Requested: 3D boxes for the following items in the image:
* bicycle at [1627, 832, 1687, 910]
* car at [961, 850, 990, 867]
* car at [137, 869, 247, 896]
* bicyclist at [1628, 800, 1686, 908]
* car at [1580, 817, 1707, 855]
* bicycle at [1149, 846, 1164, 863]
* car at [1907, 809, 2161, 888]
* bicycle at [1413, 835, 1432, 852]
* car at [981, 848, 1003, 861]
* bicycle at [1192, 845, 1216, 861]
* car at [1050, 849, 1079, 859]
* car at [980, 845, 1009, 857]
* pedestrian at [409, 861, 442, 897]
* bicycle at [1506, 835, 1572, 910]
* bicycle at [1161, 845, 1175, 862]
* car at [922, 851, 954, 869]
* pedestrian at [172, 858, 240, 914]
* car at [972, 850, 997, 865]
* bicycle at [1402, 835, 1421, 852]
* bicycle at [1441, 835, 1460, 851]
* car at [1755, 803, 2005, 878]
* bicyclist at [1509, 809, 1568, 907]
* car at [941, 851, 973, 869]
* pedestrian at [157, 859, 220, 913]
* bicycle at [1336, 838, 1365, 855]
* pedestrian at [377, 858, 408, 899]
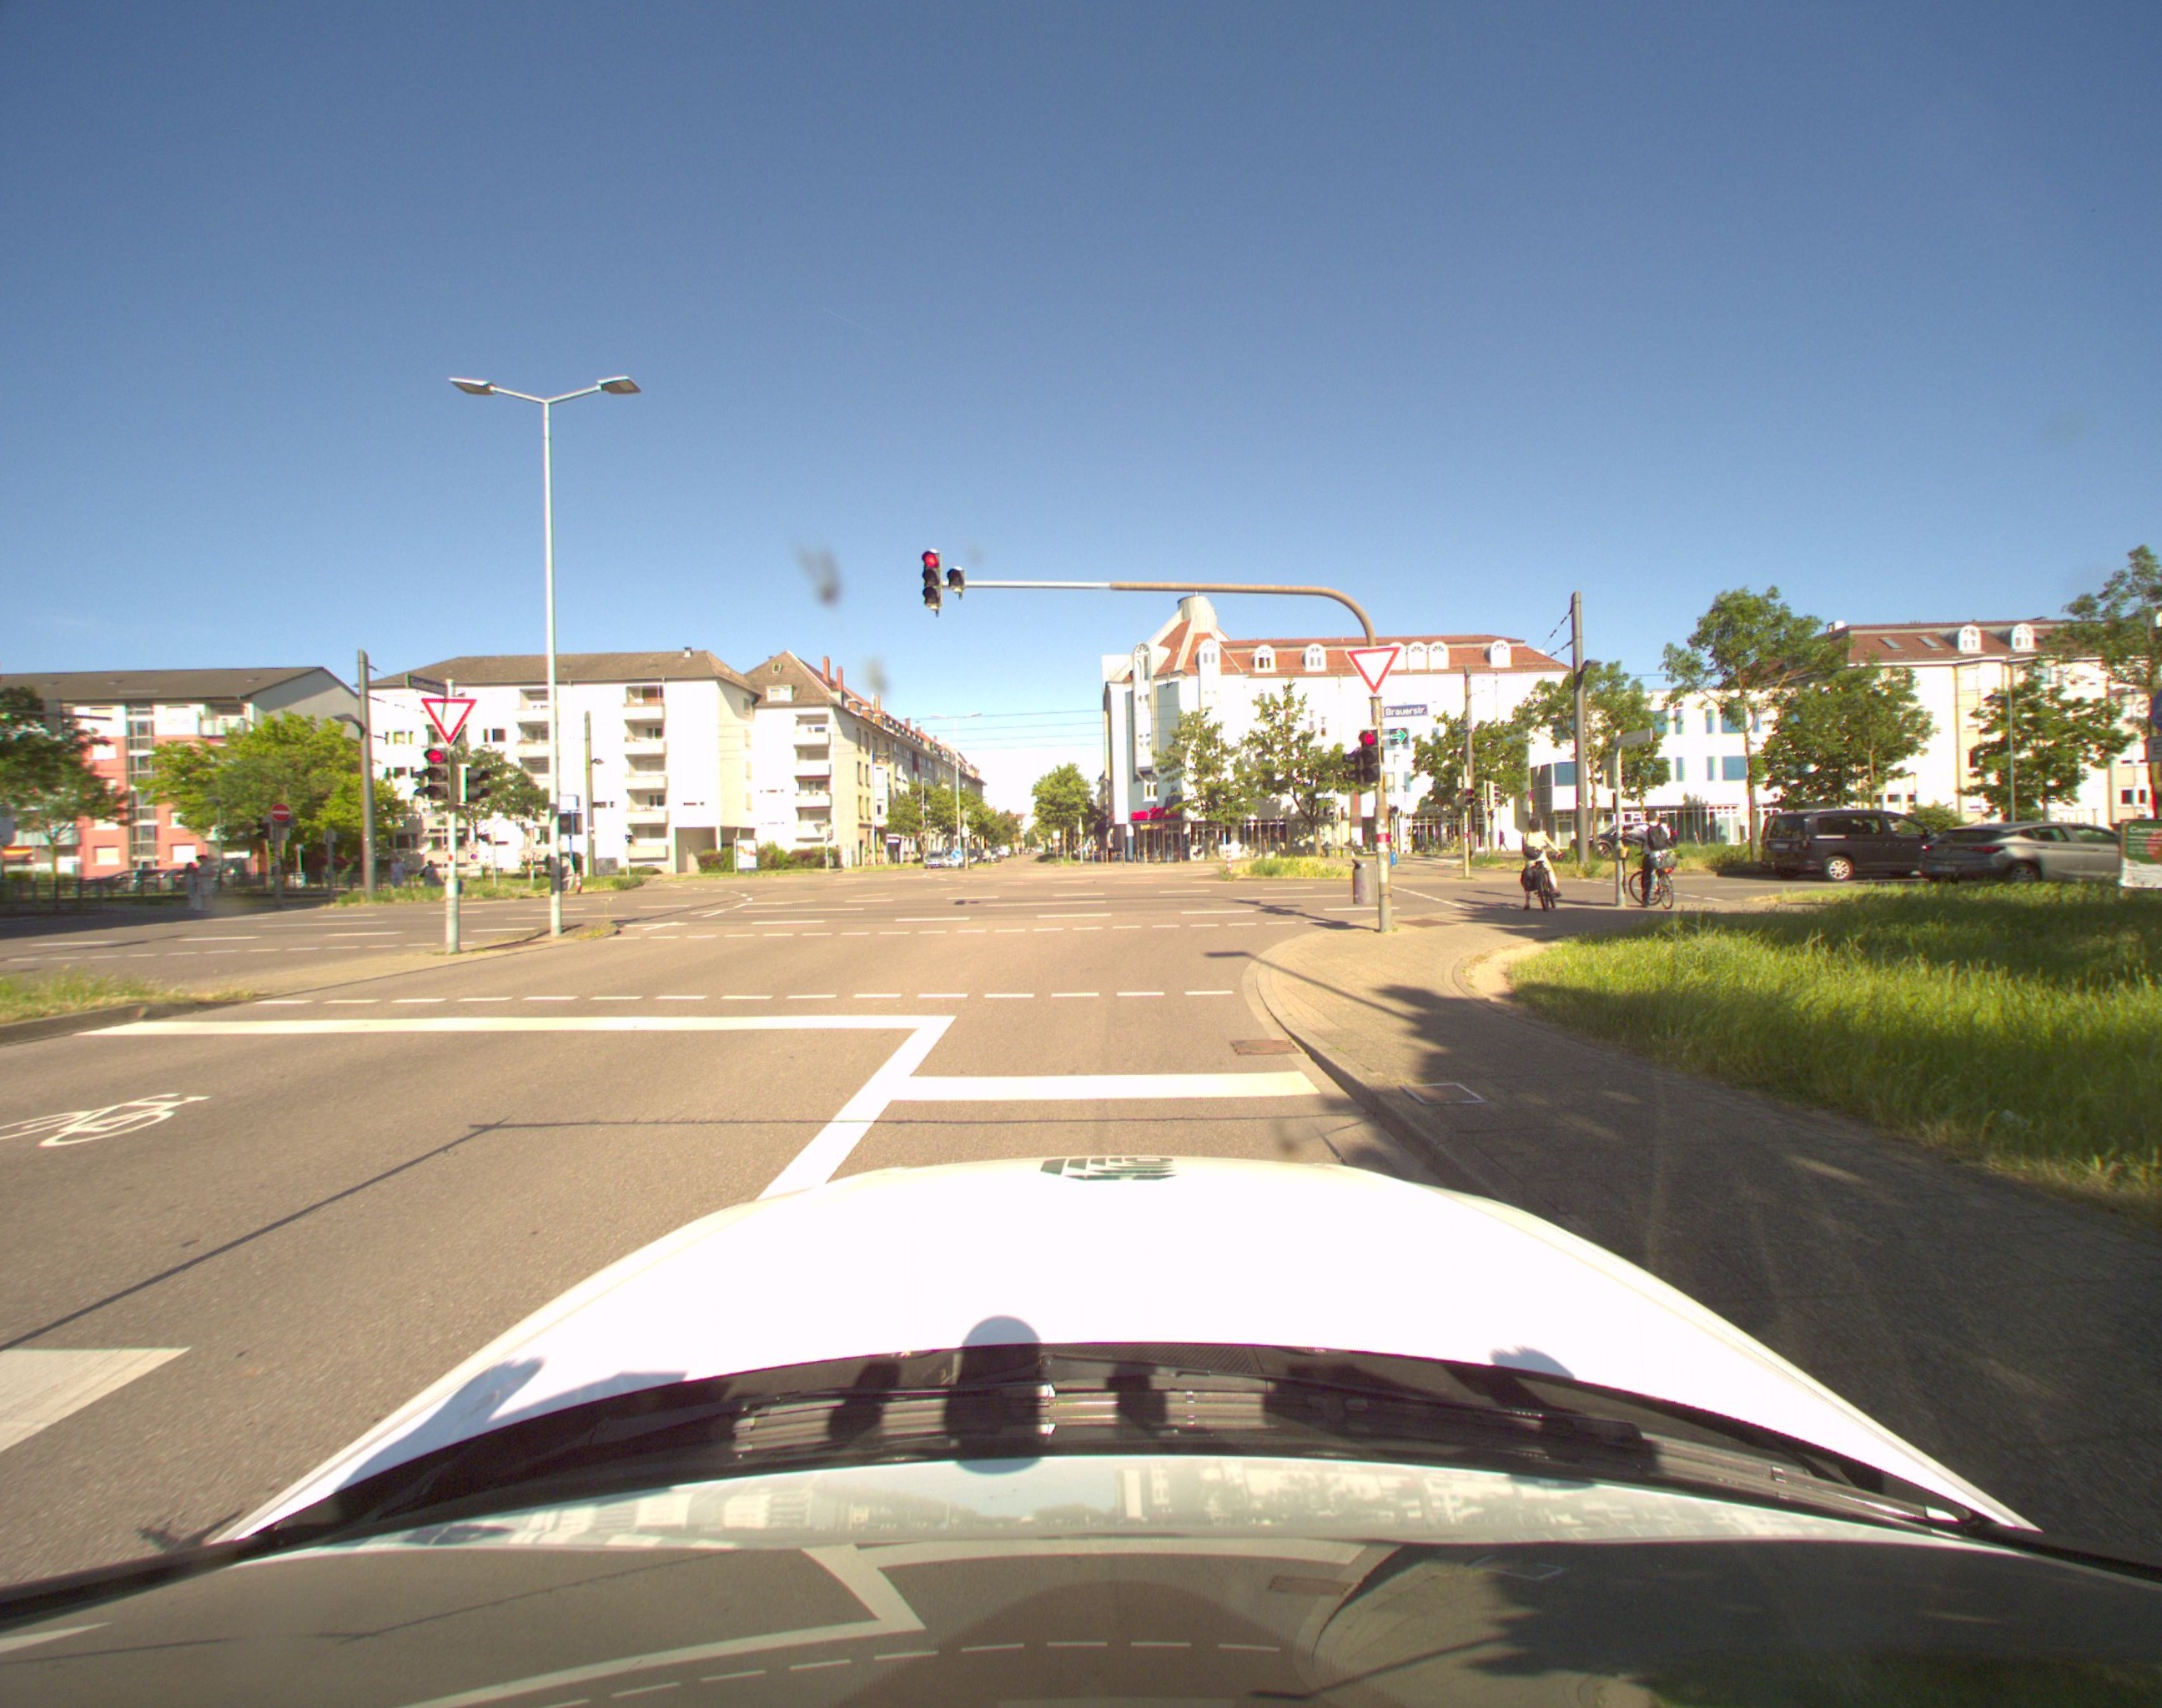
[{"bbox_3d":[10.950,0.279,15.447,0.782,1.347,2.277,-2,0,38],"label":"bicycle"},{"bbox_3d":[-9.434,0.379,72.945,1.680,1.432,4.405,1,0,5],"label":"car"},{"bbox_3d":[-54.211,1.704,49.737,1.672,1.432,4.427,1,0,39],"label":"car"},{"bbox_3d":[10.833,-0.006,15.300,0.782,1.959,1.017,-2,0,38],"label":"bicyclist"},{"bbox_3d":[26.491,-0.819,38.507,4.473,1.609,2.006,-2,0,9],"label":"car"},{"bbox_3d":[4.786,0.019,51.678,0.471,1.027,1.511,-2,0,-10],"label":"bicycle"},{"bbox_3d":[20.635,-0.116,17.516,3.839,1.577,1.697,1,0,6],"label":"car"},{"bbox_3d":[24.965,-0.779,59.582,0.558,1.182,1.869,-2,0,-1],"label":"bicycle"},{"bbox_3d":[-9.596,0.052,88.319,1.681,1.432,4.403,1,0,3],"label":"car"},{"bbox_3d":[8.149,-0.056,53.933,1.501,1.027,0.474,-2,0,11],"label":"bicycle"},{"bbox_3d":[-2.080,0.057,104.865,3.565,1.223,1.726,-1,-1,-8],"label":"car"},{"bbox_3d":[-14.403,-0.480,135.871,4.494,2.014,1.998,-1,-1,-3],"label":"car"},{"bbox_3d":[-28.976,1.108,36.033,0.723,1.533,0.857,-2,0,-4],"label":"pedestrian"},{"bbox_3d":[8.991,0.337,15.942,0.782,1.347,2.092,-2,0,38],"label":"bicycle"},{"bbox_3d":[5.563,-0.019,52.197,0.472,1.027,1.510,-2,0,-11],"label":"bicycle"},{"bbox_3d":[-12.196,0.510,69.624,1.681,1.432,4.403,1,0,3],"label":"car"},{"bbox_3d":[-28.607,1.027,26.657,0.919,1.770,1.152,-2,0,-4],"label":"pedestrian"},{"bbox_3d":[-9.348,0.303,79.283,1.681,1.432,4.403,1,0,3],"label":"car"},{"bbox_3d":[24.063,-0.782,59.273,0.558,1.182,1.869,-2,0,-1],"label":"bicycle"},{"bbox_3d":[26.827,-0.804,59.163,0.558,1.182,1.871,-2,0,2],"label":"bicycle"},{"bbox_3d":[20.386,-0.348,20.953,4.458,1.800,1.768,1,0,7],"label":"car"},{"bbox_3d":[8.894,0.069,15.807,0.782,1.824,1.143,-2,0,38],"label":"bicyclist"},{"bbox_3d":[-10.051,0.457,66.471,1.681,1.432,4.403,1,0,3],"label":"car"},{"bbox_3d":[-29.970,1.049,27.374,0.809,1.726,1.152,-2,0,-4],"label":"pedestrian"},{"bbox_3d":[19.250,-0.546,58.106,1.860,1.182,0.561,-2,0,-4],"label":"bicycle"},{"bbox_3d":[-29.946,1.049,35.425,1.139,1.726,0.818,-2,0,42],"label":"pedestrian"}]
